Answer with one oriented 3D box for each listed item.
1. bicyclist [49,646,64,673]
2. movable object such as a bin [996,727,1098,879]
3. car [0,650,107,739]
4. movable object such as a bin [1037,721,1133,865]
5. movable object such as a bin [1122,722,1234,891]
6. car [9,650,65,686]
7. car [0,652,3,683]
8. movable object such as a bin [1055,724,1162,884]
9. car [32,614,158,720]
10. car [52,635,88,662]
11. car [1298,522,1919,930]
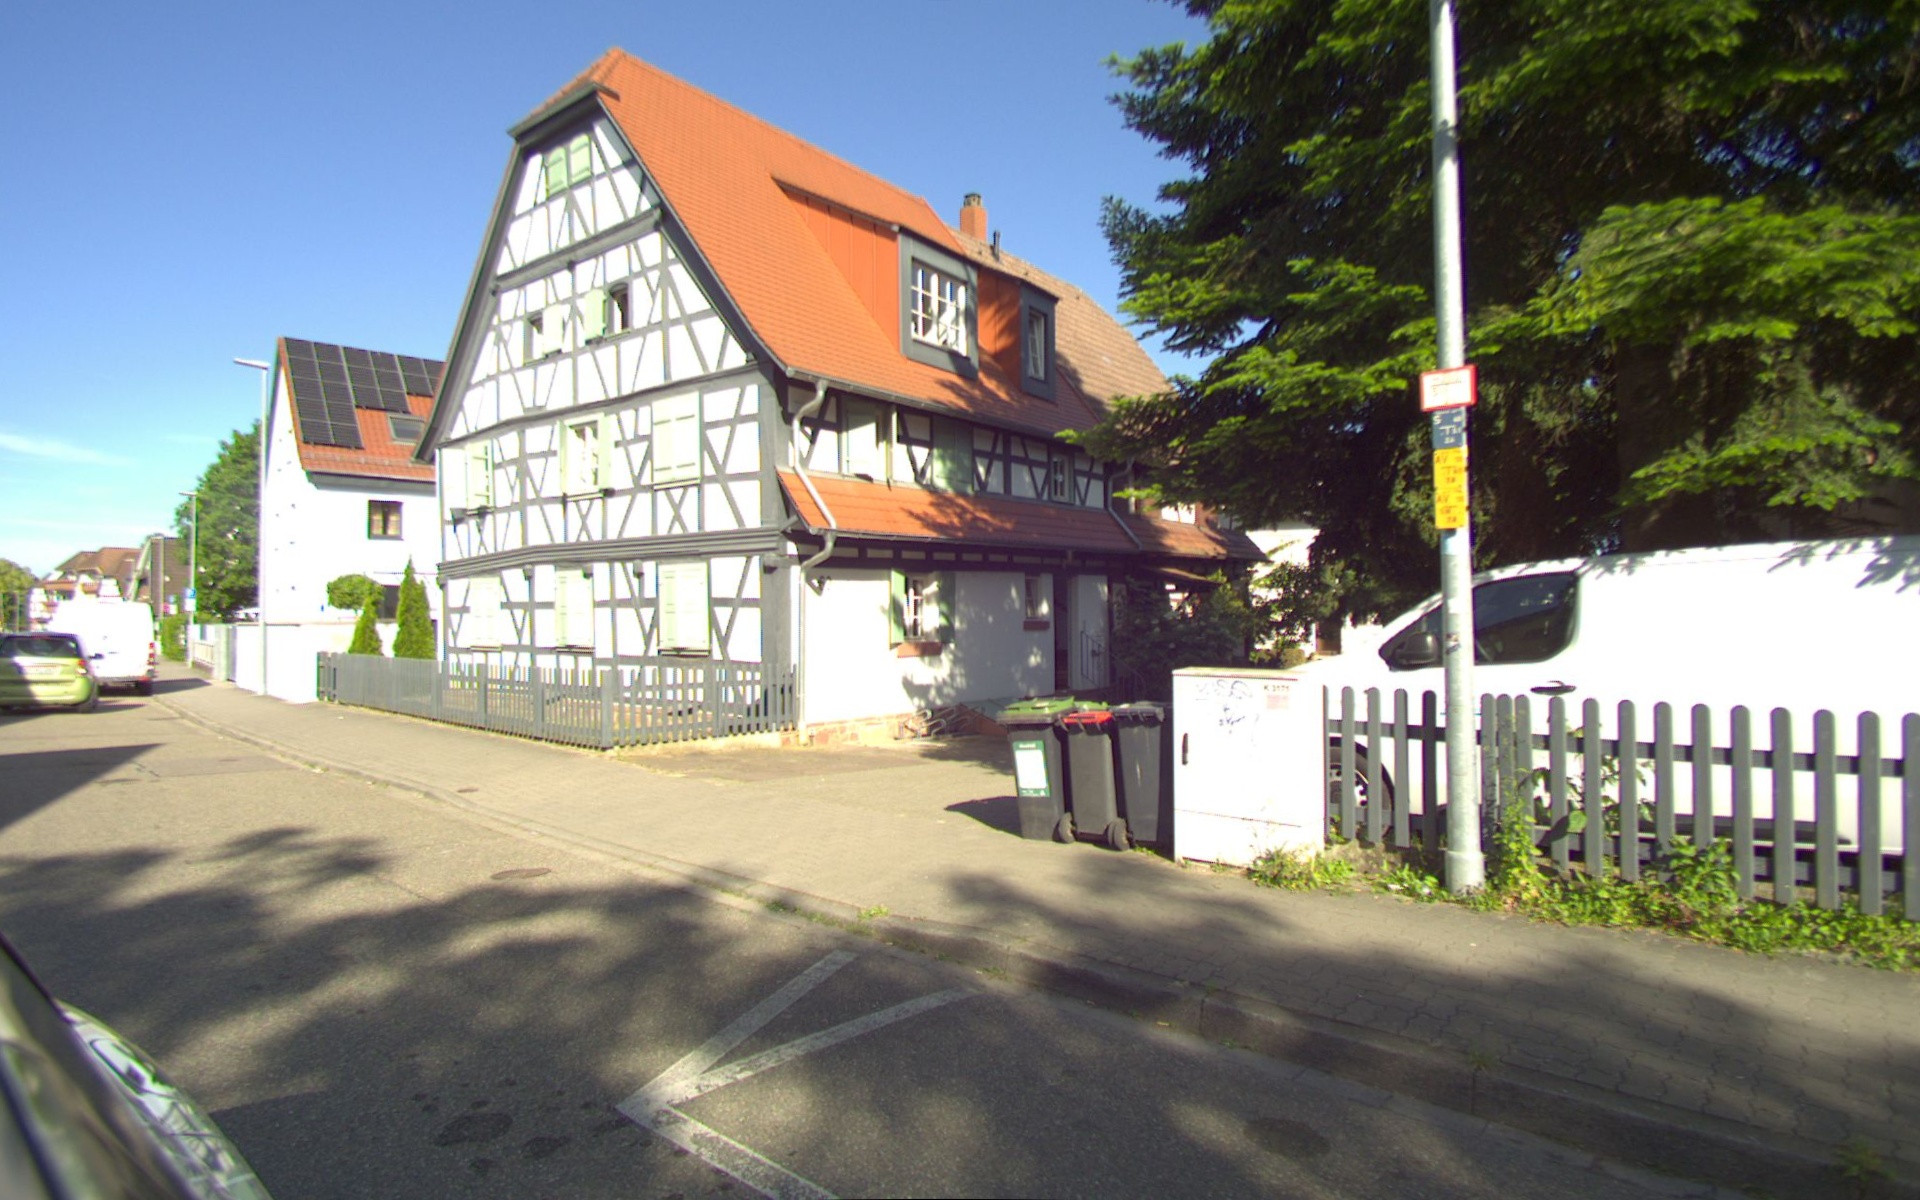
[{"bbox_3d":[-56.692,3.735,63.520,0.634,1.677,0.605,3,-4,-44],"label":"bicyclist"},{"bbox_3d":[0.581,1.337,6.807,0.490,0.931,0.435,-5,-5,41],"label":"movable object such as a bin"},{"bbox_3d":[-17.628,1.748,19.454,1.553,1.558,2.973,2,-3,-35],"label":"car"},{"bbox_3d":[0.877,1.338,7.139,0.490,0.931,0.415,-5,-5,41],"label":"movable object such as a bin"},{"bbox_3d":[1.324,1.226,6.151,0.490,0.931,0.415,-5,-5,41],"label":"movable object such as a bin"},{"bbox_3d":[-43.128,3.144,47.371,1.786,1.486,4.851,-1,-1,-41],"label":"car"},{"bbox_3d":[-45.915,3.184,46.810,1.787,1.486,4.670,1,-2,-36],"label":"car"},{"bbox_3d":[0.949,1.280,6.481,0.490,0.931,0.423,-5,-5,41],"label":"movable object such as a bin"},{"bbox_3d":[-22.170,1.662,26.011,2.169,2.408,6.073,2,-4,-40],"label":"car"},{"bbox_3d":[-85.563,4.612,97.231,2.226,2.489,5.519,2,-3,-45],"label":"car"},{"bbox_3d":[4.883,0.650,5.960,5.138,1.970,1.920,-2,-3,40],"label":"car"}]
